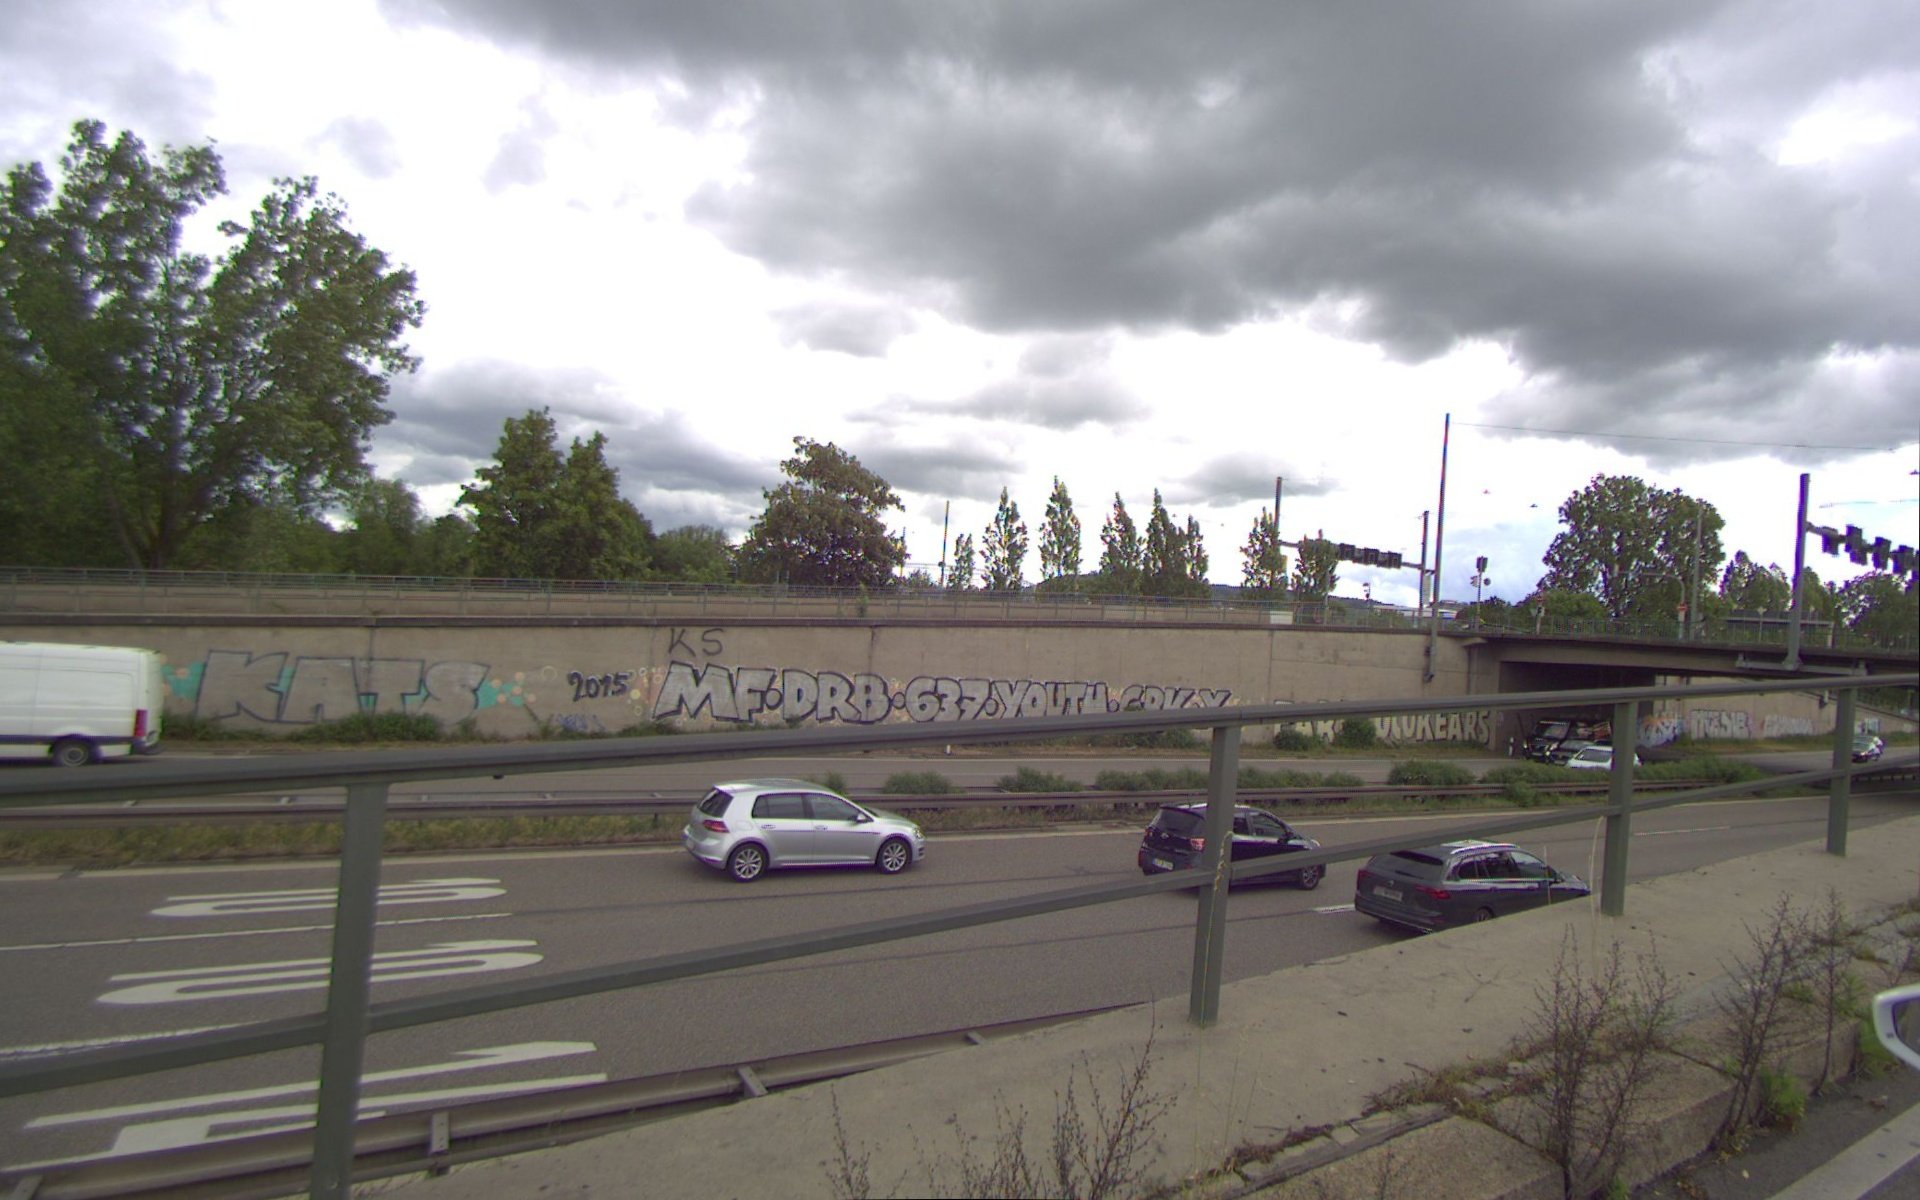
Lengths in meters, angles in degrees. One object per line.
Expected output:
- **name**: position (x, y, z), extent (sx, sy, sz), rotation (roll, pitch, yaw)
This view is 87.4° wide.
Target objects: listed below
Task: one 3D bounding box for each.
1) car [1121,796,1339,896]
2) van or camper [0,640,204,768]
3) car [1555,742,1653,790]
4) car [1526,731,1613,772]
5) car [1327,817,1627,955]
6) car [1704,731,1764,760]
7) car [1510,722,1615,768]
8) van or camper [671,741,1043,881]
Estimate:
- **car**: position (4.913, 4.439, 18.220), extent (3.608, 1.343, 1.715), rotation (9, -4, -30)
- **van or camper**: position (-20.350, 2.179, 21.519), extent (6.280, 2.488, 2.170), rotation (6, -2, -32)
- **car**: position (27.799, 7.136, 43.366), extent (3.957, 1.683, 1.983), rotation (6, -2, -31)
- **car**: position (29.850, 7.419, 49.158), extent (3.957, 1.683, 1.983), rotation (6, -2, -31)
- **car**: position (8.184, 4.412, 15.919), extent (4.242, 1.520, 1.932), rotation (4, -3, -22)
- **car**: position (53.979, 10.160, 70.020), extent (3.957, 1.683, 1.983), rotation (6, -2, -31)
- **car**: position (32.981, 7.942, 54.914), extent (6.114, 2.183, 2.279), rotation (6, -3, -31)
- **van or camper**: position (-1.680, 3.619, 17.816), extent (6.277, 1.893, 1.873), rotation (6, -2, -31)
